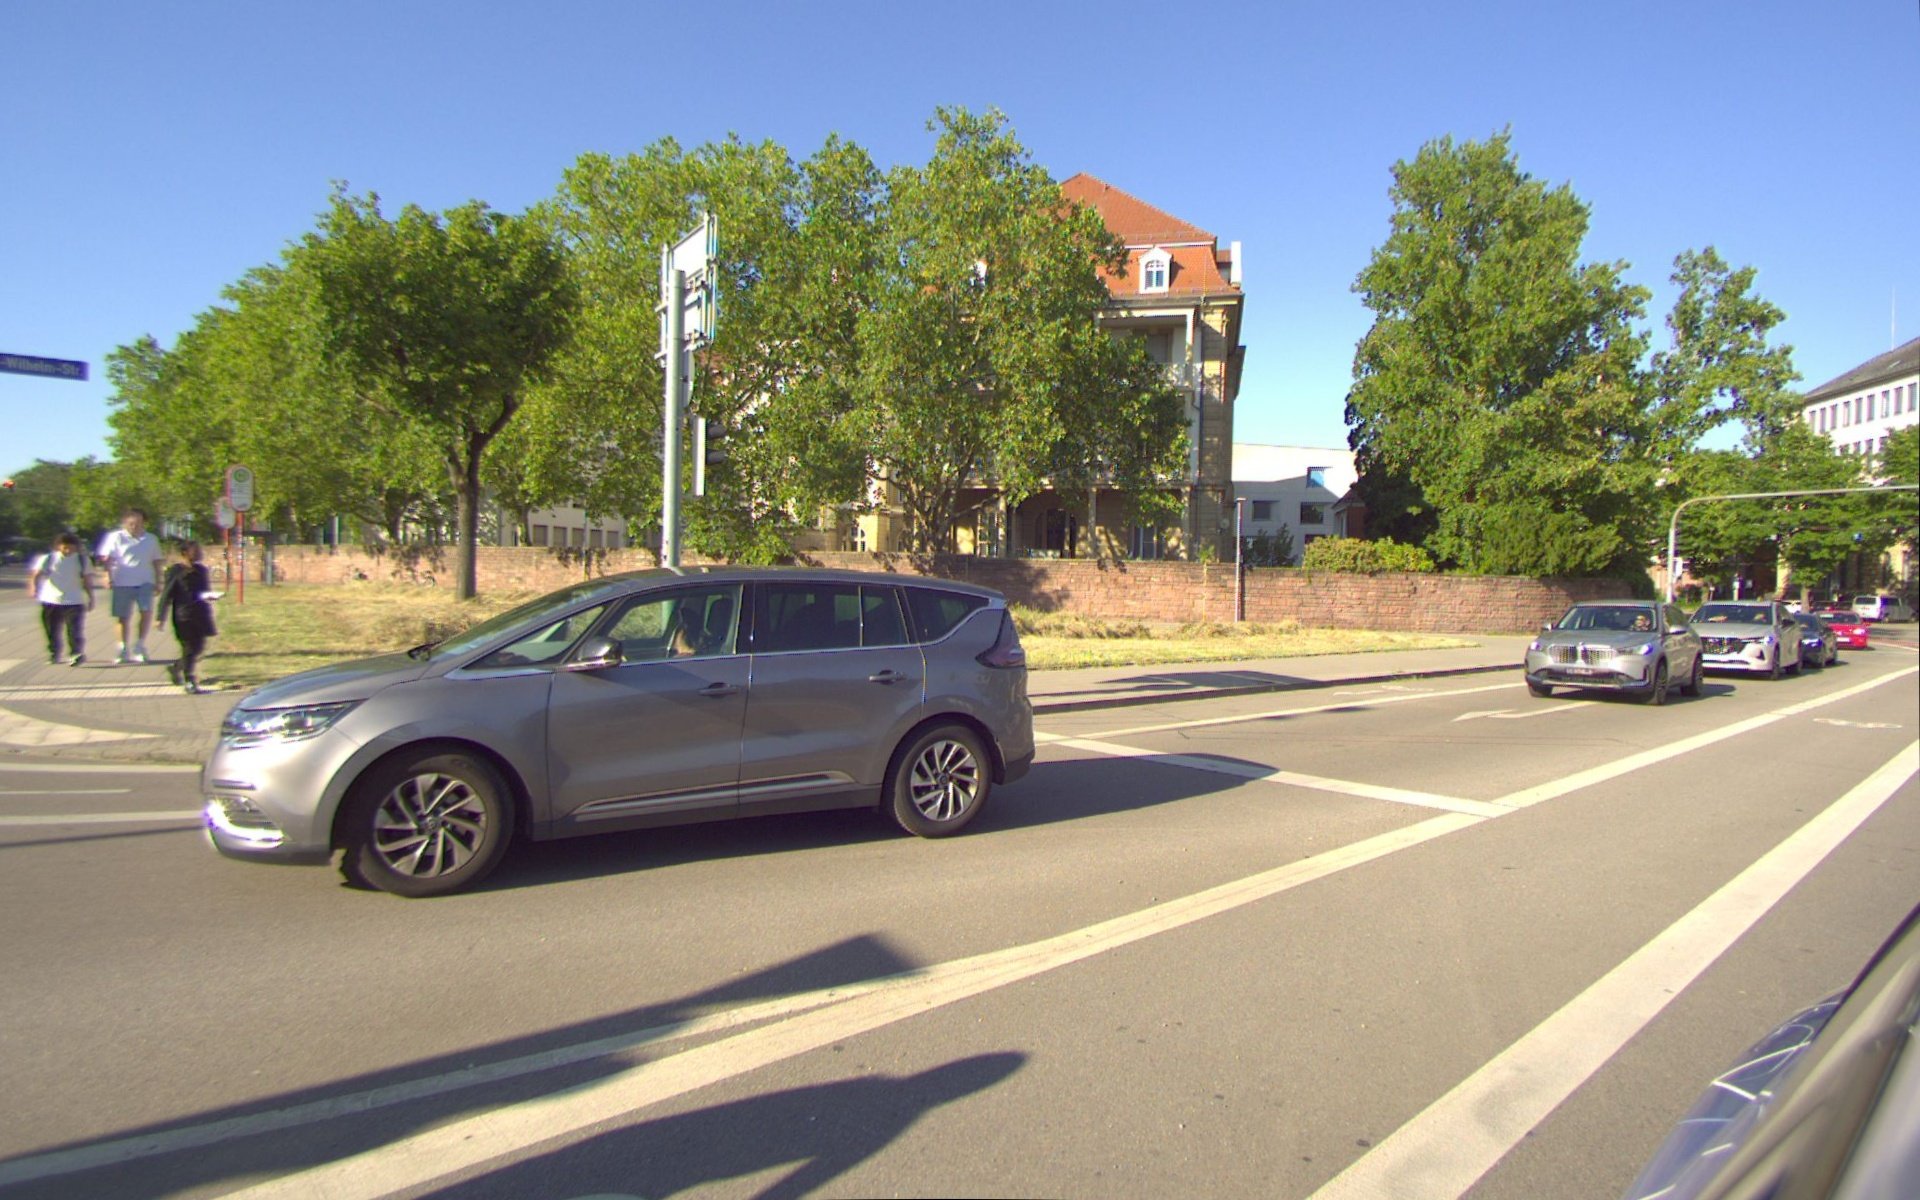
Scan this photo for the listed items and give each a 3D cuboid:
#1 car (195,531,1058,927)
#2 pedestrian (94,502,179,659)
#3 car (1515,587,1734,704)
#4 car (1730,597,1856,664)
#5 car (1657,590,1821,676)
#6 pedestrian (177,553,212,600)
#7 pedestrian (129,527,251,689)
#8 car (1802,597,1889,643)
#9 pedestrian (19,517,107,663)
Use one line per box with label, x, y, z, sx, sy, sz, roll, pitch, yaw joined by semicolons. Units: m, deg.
car;-1.826;0.521;6.365;4.537;1.705;2.003;0;2;-30
pedestrian;-10.564;-0.277;12.986;0.870;1.916;0.702;6;6;42
car;11.308;0.641;17.104;4.290;1.640;2.152;-1;3;-44
car;22.671;0.746;27.483;4.531;1.606;2.189;-1;1;-45
car;17.515;0.638;22.685;4.528;1.705;2.191;-1;1;-43
pedestrian;-26.102;-0.800;34.511;0.956;1.555;0.922;0;2;-37
pedestrian;-8.385;0.065;11.047;0.779;1.672;0.713;3;4;4
car;33.581;0.697;38.337;4.531;1.606;2.189;-1;1;-45
pedestrian;-11.038;-0.150;12.458;0.870;1.693;0.702;6;6;42
